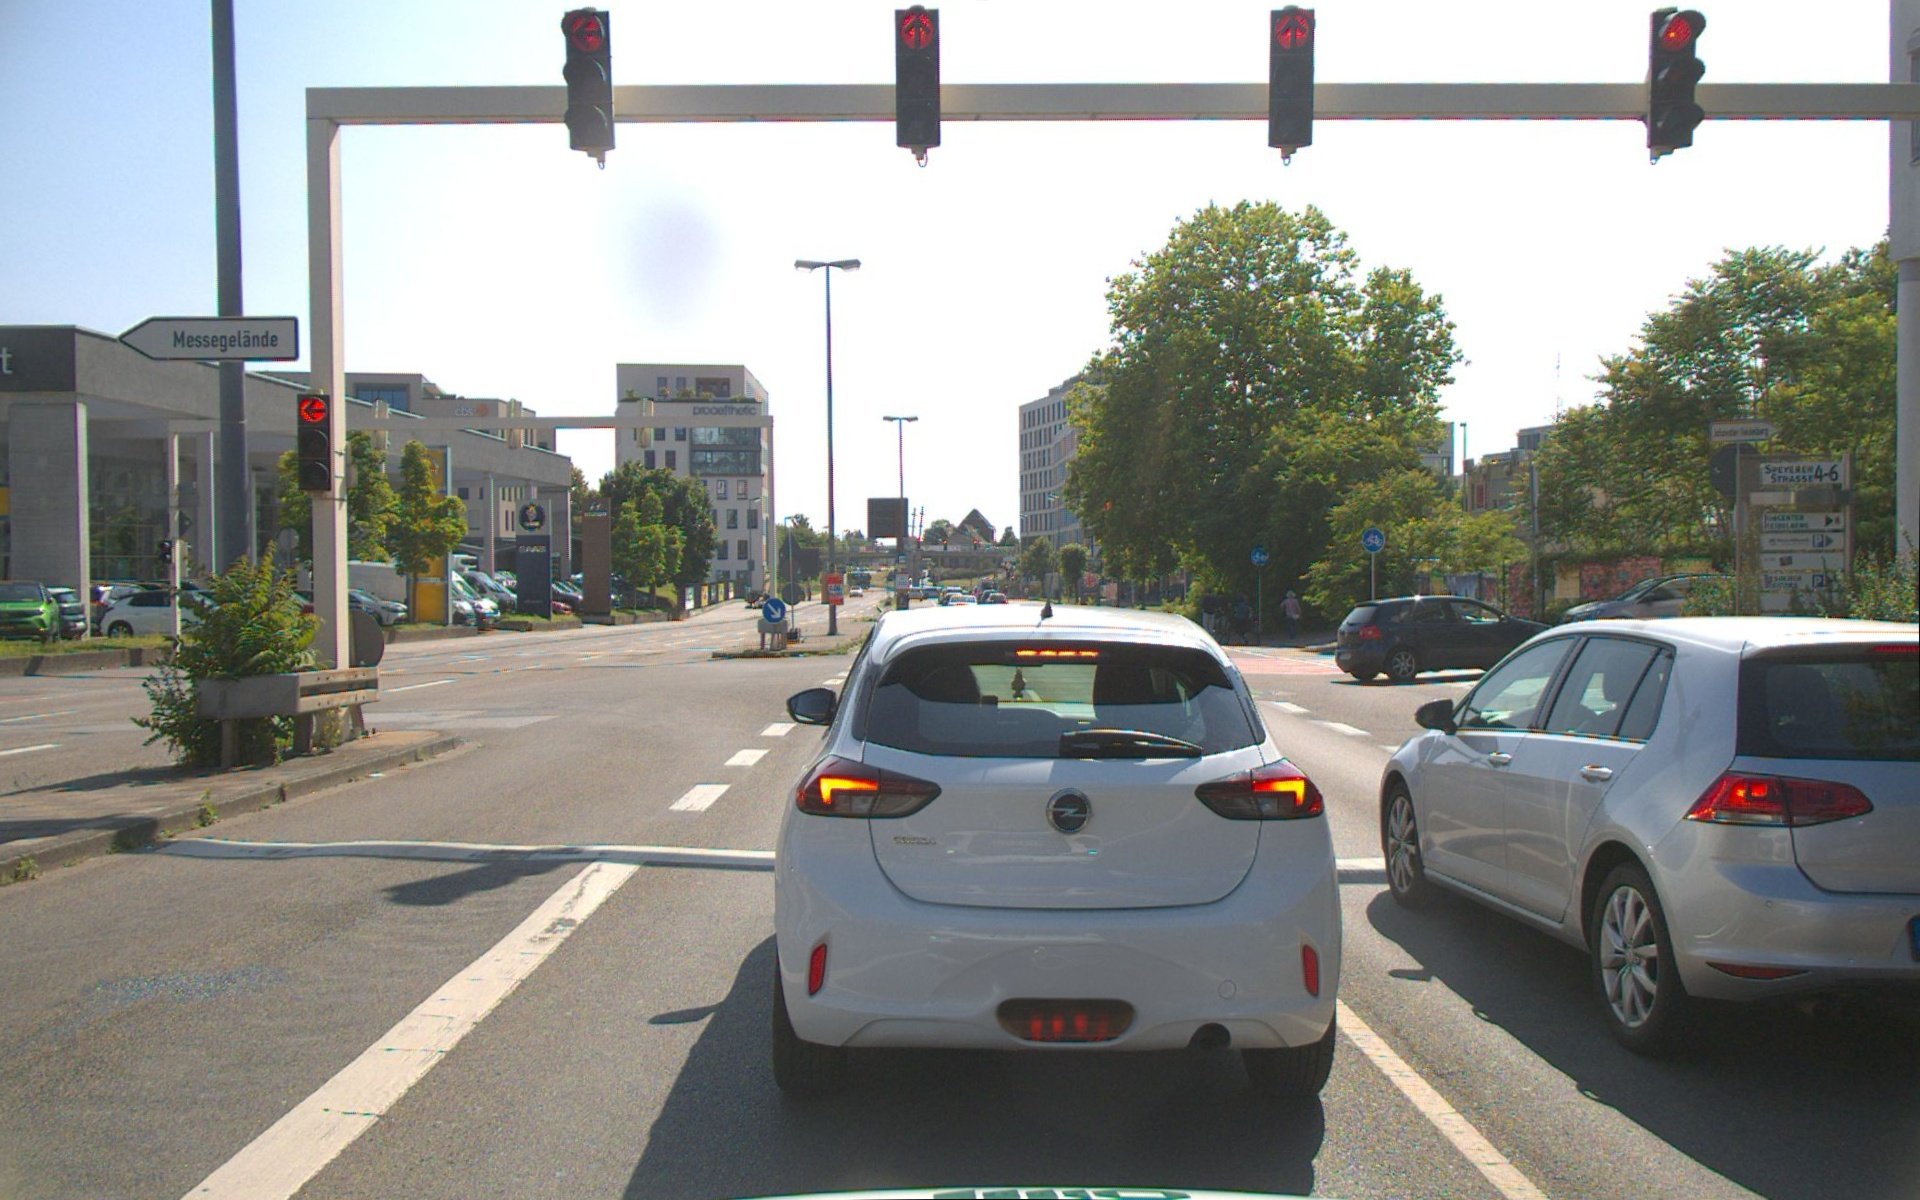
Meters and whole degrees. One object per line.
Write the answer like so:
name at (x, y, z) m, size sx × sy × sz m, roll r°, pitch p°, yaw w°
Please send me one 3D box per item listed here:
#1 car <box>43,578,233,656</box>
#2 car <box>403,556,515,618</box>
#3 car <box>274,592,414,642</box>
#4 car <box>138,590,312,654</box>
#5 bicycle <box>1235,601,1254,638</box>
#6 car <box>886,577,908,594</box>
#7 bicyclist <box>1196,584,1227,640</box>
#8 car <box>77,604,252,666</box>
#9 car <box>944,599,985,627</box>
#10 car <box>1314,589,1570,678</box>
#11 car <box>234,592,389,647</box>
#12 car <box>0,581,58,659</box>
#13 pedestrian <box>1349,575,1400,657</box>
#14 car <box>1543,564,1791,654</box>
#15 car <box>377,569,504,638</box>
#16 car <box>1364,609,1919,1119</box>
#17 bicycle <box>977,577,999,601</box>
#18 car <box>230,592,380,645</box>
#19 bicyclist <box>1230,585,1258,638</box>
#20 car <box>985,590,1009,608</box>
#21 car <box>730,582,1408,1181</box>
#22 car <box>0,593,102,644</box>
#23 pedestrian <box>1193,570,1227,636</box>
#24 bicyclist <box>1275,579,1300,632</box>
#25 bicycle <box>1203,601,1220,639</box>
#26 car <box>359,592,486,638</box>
car at (-20.729, 0.406, 41.826) m, size 3.793 × 1.870 × 1.999 m, roll -1°, pitch 0°, yaw -4°
car at (-21.983, -0.575, 72.695) m, size 4.265 × 2.646 × 2.001 m, roll -1°, pitch 0°, yaw 4°
car at (-21.979, 0.588, 59.163) m, size 4.270 × 1.726 × 1.999 m, roll -1°, pitch 0°, yaw -4°
car at (-21.545, 0.617, 48.627) m, size 4.211 × 1.796 × 1.999 m, roll -1°, pitch 0°, yaw -4°
bicycle at (9.090, 0.621, 52.892) m, size 0.366 × 1.167 × 1.034 m, roll 1°, pitch -1°, yaw -3°
car at (-5.356, -1.223, 141.613) m, size 1.769 × 1.410 × 3.999 m, roll 1°, pitch -1°, yaw -1°
bicyclist at (8.248, 0.396, 54.313) m, size 0.861 × 1.803 × 0.863 m, roll 0°, pitch 0°, yaw -1°
car at (-22.000, 0.938, 45.867) m, size 3.912 × 1.627 × 1.997 m, roll -1°, pitch 0°, yaw -8°
car at (0.247, 0.654, 82.545) m, size 1.952 × 1.355 × 4.001 m, roll 1°, pitch -1°, yaw 2°
car at (8.547, 0.562, 29.508) m, size 3.913 × 1.467 × 1.996 m, roll -1°, pitch 0°, yaw -9°
car at (-21.017, 0.620, 53.751) m, size 4.270 × 1.726 × 1.999 m, roll 0°, pitch 0°, yaw -3°
car at (-22.560, 0.497, 38.932) m, size 1.887 × 1.764 × 3.250 m, roll -1°, pitch -1°, yaw -37°
pedestrian at (10.469, 0.391, 41.827) m, size 1.006 × 2.049 × 1.038 m, roll 0°, pitch 0°, yaw -1°
car at (14.594, 0.187, 34.392) m, size 4.325 × 1.578 × 2.002 m, roll -3°, pitch 0°, yaw 10°
car at (-21.138, 0.146, 67.395) m, size 4.401 × 2.731 × 2.130 m, roll -1°, pitch 0°, yaw 8°
car at (3.136, 0.776, 6.847) m, size 1.771 × 1.454 × 3.997 m, roll -1°, pitch 0°, yaw -3°
bicycle at (2.598, -1.009, 155.578) m, size 1.953 × 2.195 × 3.999 m, roll -1°, pitch 0°, yaw -1°
car at (-22.101, 0.613, 55.961) m, size 4.270 × 1.726 × 1.999 m, roll -1°, pitch 0°, yaw -4°
bicyclist at (9.079, 0.367, 52.870) m, size 0.675 × 1.672 × 0.775 m, roll 0°, pitch 0°, yaw -9°
car at (3.010, -0.058, 134.227) m, size 1.769 × 1.410 × 3.999 m, roll 1°, pitch -1°, yaw -1°
car at (0.251, 0.714, 6.270) m, size 1.743 × 1.520 × 3.999 m, roll -1°, pitch 0°, yaw -1°
car at (-26.264, 0.539, 45.511) m, size 4.276 × 1.290 × 1.996 m, roll -2°, pitch -1°, yaw -9°
pedestrian at (8.736, 0.111, 57.770) m, size 1.006 × 2.278 × 1.038 m, roll 0°, pitch 0°, yaw -1°
bicyclist at (10.589, 0.178, 53.519) m, size 0.639 × 1.666 × 0.659 m, roll 1°, pitch -1°, yaw -1°
bicycle at (8.257, 0.654, 54.310) m, size 0.365 × 1.238 × 1.153 m, roll 1°, pitch 0°, yaw -1°
car at (-21.066, 0.563, 64.947) m, size 4.265 × 1.726 × 2.001 m, roll -1°, pitch 0°, yaw 4°
